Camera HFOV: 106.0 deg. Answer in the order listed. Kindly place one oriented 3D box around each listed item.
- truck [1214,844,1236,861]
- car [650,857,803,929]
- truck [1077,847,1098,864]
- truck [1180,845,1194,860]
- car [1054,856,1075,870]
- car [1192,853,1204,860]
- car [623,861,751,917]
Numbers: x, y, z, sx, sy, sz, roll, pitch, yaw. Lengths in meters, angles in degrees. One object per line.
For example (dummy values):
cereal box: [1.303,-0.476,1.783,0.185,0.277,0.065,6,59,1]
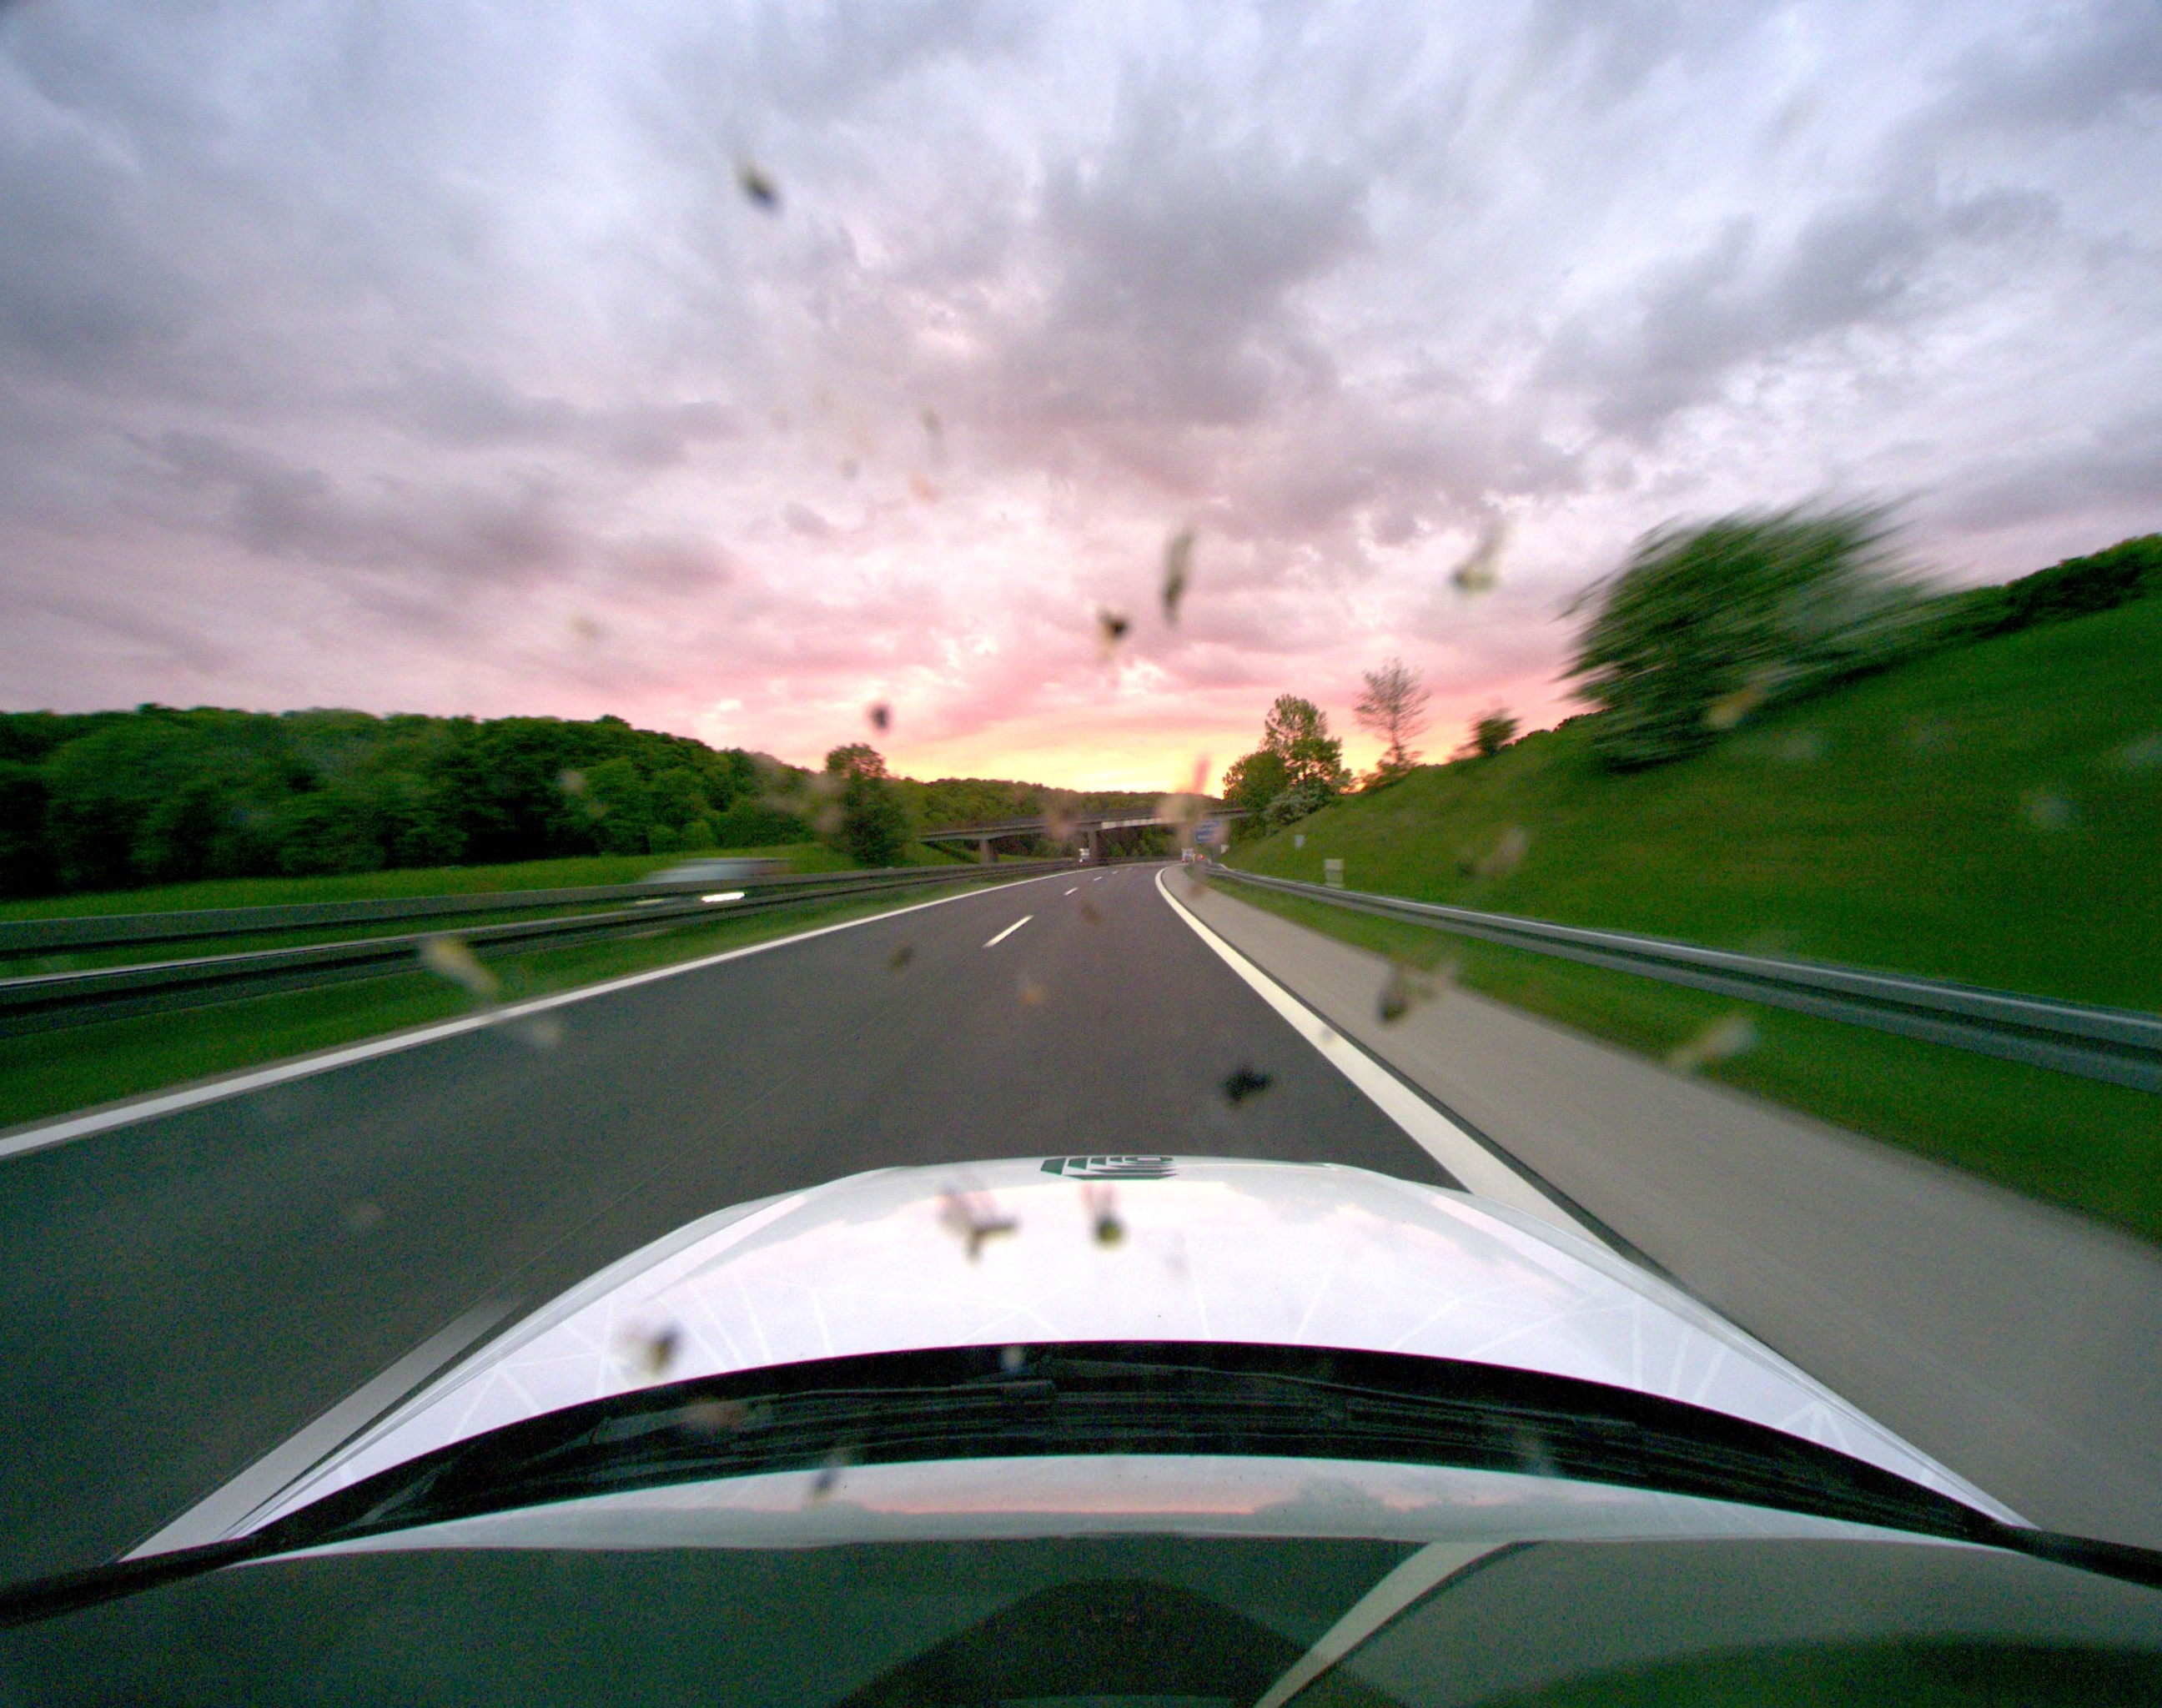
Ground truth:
truck: [39.727,-0.524,223.650,3.927,4.287,14.388,-2,0,17]
car: [-10.416,1.062,24.491,2.094,1.872,5.135,-2,0,3]
truck: [1.241,0.265,146.240,2.595,3.109,6.688,-1,0,10]
truck: [20.878,-0.340,160.140,2.261,2.664,5.254,-3,1,12]
car: [-2.124,1.155,106.909,1.763,1.714,4.653,-1,0,12]
car: [30.044,0.637,208.902,1.976,1.517,4.022,-2,0,23]
car: [-13.546,1.140,28.370,2.017,1.659,4.673,-2,0,2]
